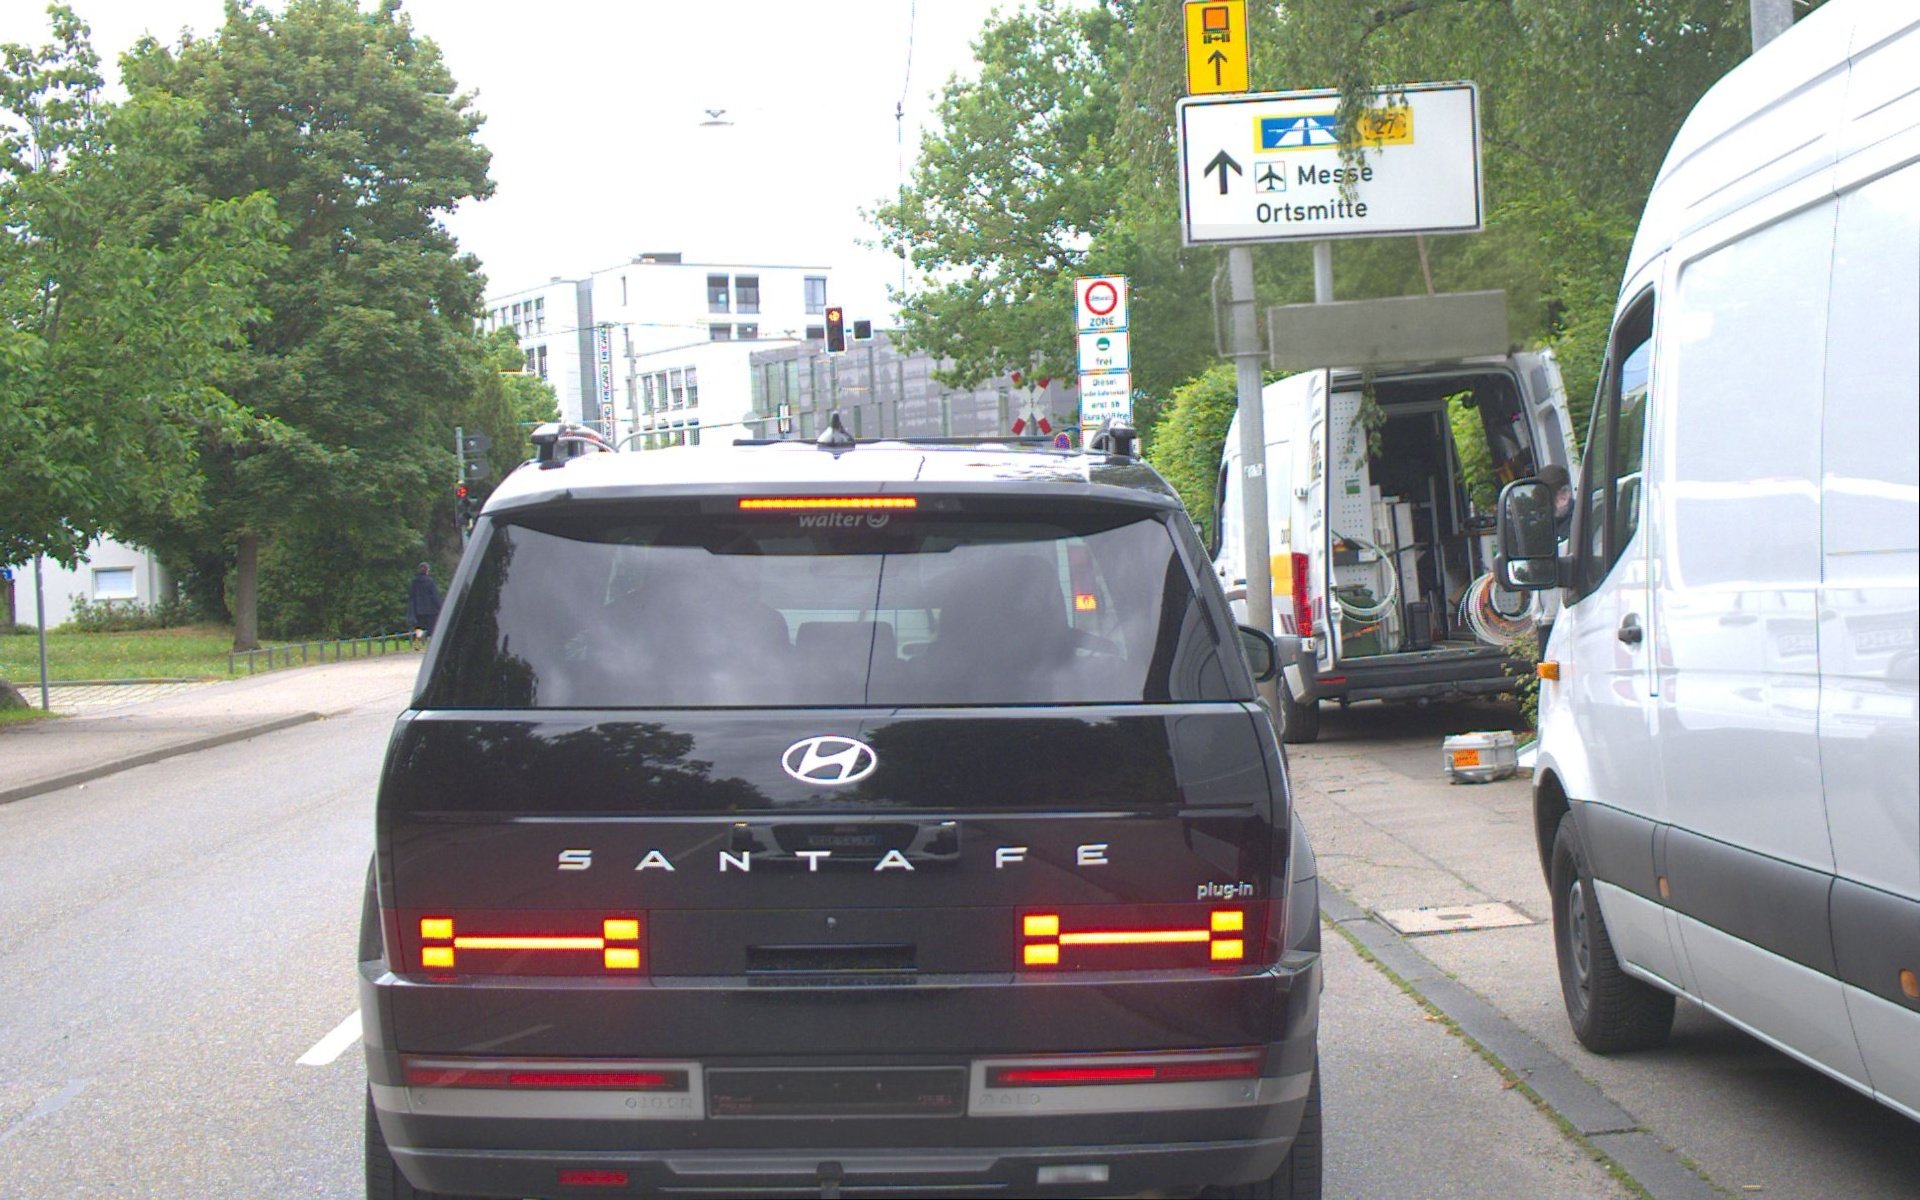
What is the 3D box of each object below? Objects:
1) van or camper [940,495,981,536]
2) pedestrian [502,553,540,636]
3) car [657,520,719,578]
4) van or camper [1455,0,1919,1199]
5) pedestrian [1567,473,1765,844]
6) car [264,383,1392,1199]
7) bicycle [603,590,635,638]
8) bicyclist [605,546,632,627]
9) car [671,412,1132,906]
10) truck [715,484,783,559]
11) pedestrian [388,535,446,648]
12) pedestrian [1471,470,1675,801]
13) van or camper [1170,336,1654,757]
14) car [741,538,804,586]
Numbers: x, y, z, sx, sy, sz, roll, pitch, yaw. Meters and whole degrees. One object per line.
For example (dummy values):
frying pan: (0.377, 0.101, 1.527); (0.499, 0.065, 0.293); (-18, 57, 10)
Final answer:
van or camper: (0.009, -4.243, 172.473); (1.795, 1.992, 3.824); (1, 1, -4)
pedestrian: (-9.284, -0.125, 72.724); (0.767, 1.742, 0.904); (-1, 0, -8)
car: (-11.421, -2.130, 144.266); (2.332, 2.307, 4.959); (-2, 1, -6)
van or camper: (2.612, -0.022, 6.990); (1.991, 2.616, 6.544); (-5, 1, -1)
pedestrian: (3.262, 0.264, 15.938); (0.736, 1.638, 0.801); (-3, 0, 6)
car: (-0.249, 0.509, 7.834); (1.897, 1.770, 3.994); (1, 1, -1)
bicycle: (-7.128, 0.287, 71.865); (0.495, 0.961, 1.748); (1, 1, -1)
bicyclist: (-7.119, -0.285, 71.760); (0.487, 1.678, 0.588); (1, 0, -1)
car: (-0.266, 0.228, 16.333); (1.897, 2.035, 3.994); (1, 1, -1)
truck: (-11.527, -4.230, 187.084); (3.107, 3.846, 9.623); (-2, 1, -6)
pedestrian: (-9.831, -0.161, 62.280); (0.830, 2.007, 1.047); (1, 0, 2)
pedestrian: (3.271, 0.178, 18.342); (0.752, 1.715, 0.790); (1, 1, 40)
van or camper: (3.090, -0.339, 25.264); (2.340, 2.486, 6.603); (-5, 0, -1)
car: (-6.033, -1.230, 111.028); (1.756, 1.398, 4.414); (-4, 1, -1)
